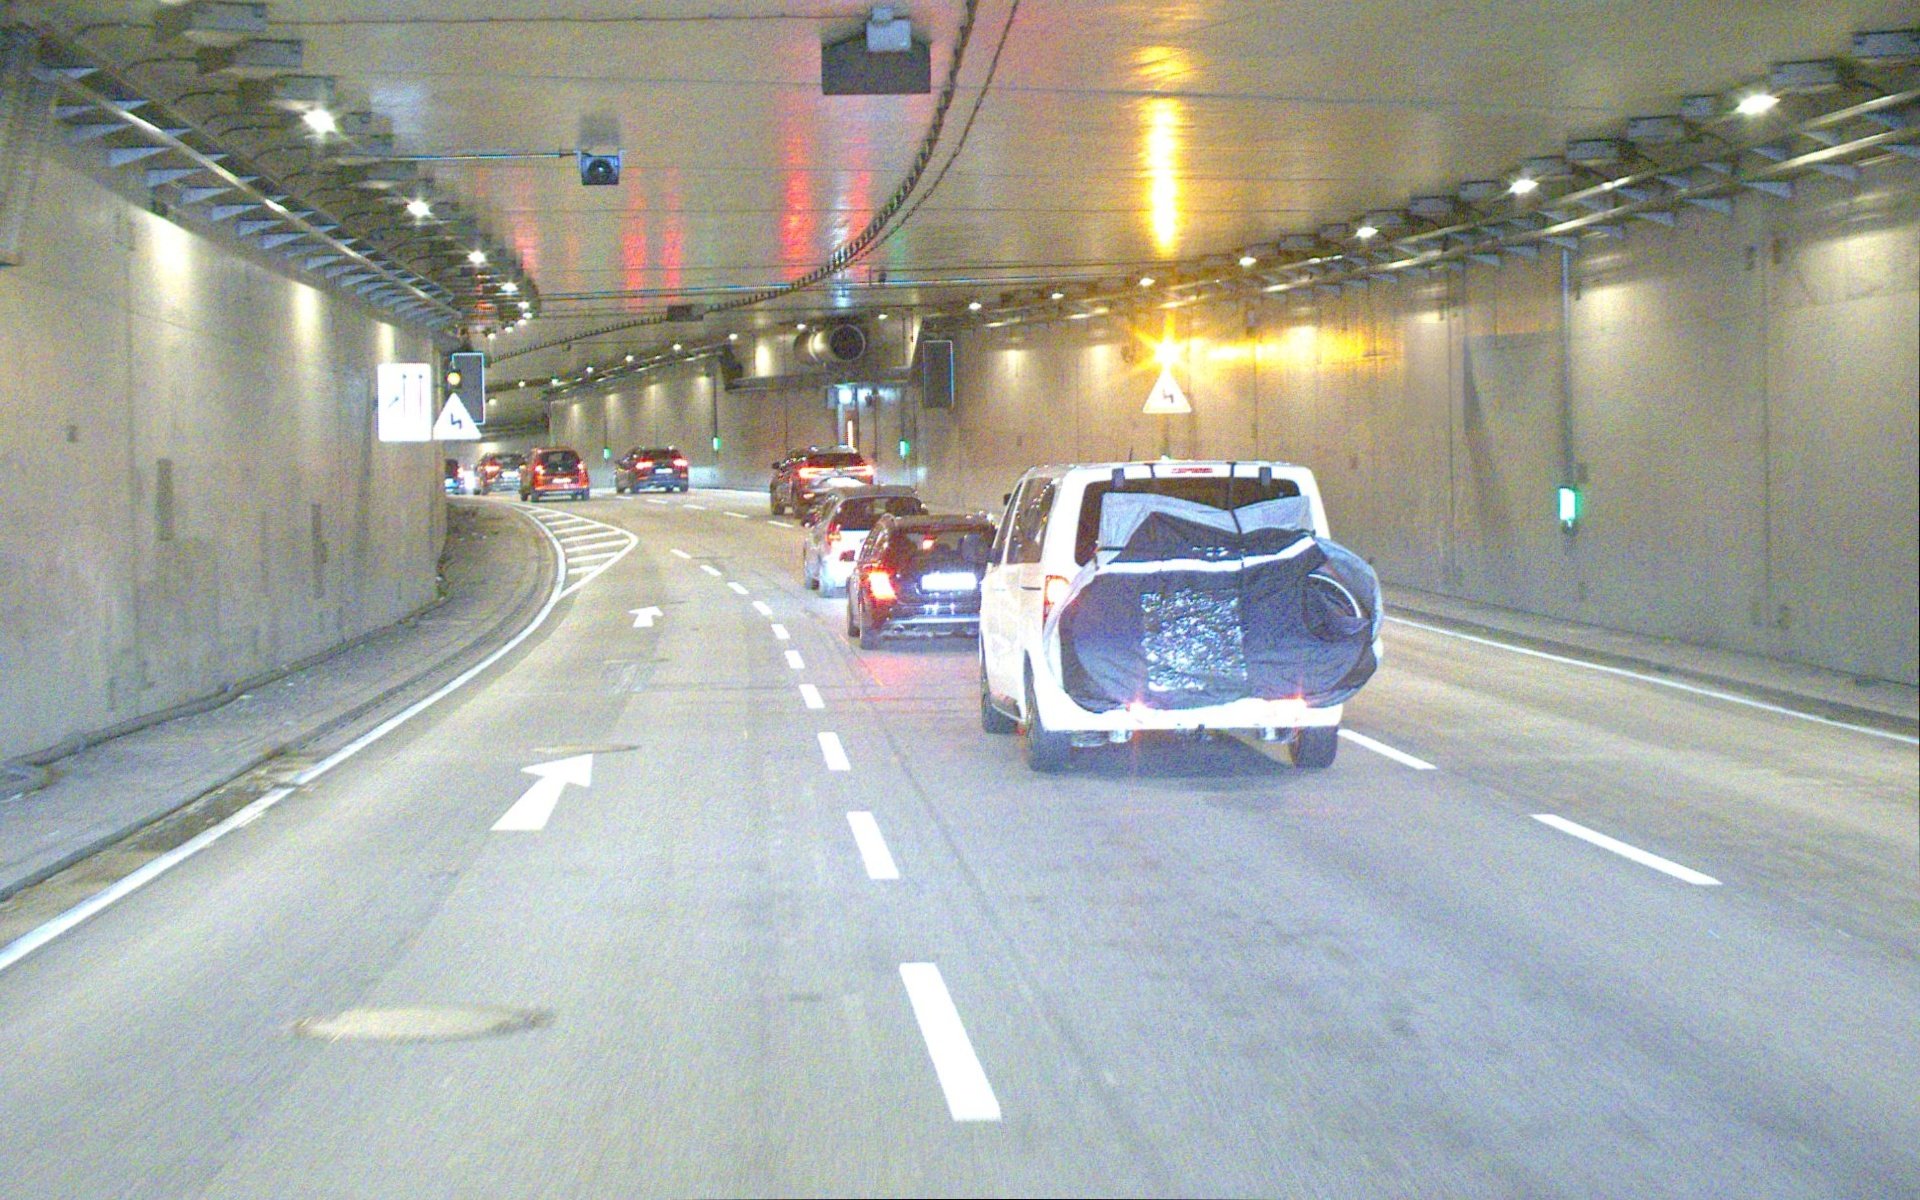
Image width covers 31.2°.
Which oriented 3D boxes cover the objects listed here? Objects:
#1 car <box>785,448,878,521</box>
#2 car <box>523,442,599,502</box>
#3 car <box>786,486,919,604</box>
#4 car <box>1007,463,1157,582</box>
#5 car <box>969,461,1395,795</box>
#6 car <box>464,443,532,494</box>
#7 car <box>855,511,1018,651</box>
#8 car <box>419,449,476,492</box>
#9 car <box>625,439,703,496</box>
[{"bbox_3d":[-2.965,-2.632,78.882,1.602,1.624,3.357,0,1,-12],"label":"car"},{"bbox_3d":[-11.486,-3.658,98.808,1.822,1.624,3.845,0,1,-12],"label":"car"},{"bbox_3d":[-1.578,-0.826,49.643,1.602,1.588,3.357,-1,3,-7],"label":"car"},{"bbox_3d":[1.821,-1.161,52.644,1.872,1.755,4.001,0,1,-4],"label":"car"},{"bbox_3d":[1.236,0.054,21.635,1.993,1.841,5.302,0,2,-4],"label":"car"},{"bbox_3d":[-15.580,-4.412,115.755,1.822,1.624,3.845,0,1,-14],"label":"car"},{"bbox_3d":[-0.287,-0.238,36.597,1.602,1.390,3.278,0,2,-3],"label":"car"},{"bbox_3d":[-20.360,-5.125,136.460,1.822,1.624,3.845,0,1,-15],"label":"car"},{"bbox_3d":[-9.019,-4.020,104.596,1.822,1.624,3.845,0,1,-13],"label":"car"}]
